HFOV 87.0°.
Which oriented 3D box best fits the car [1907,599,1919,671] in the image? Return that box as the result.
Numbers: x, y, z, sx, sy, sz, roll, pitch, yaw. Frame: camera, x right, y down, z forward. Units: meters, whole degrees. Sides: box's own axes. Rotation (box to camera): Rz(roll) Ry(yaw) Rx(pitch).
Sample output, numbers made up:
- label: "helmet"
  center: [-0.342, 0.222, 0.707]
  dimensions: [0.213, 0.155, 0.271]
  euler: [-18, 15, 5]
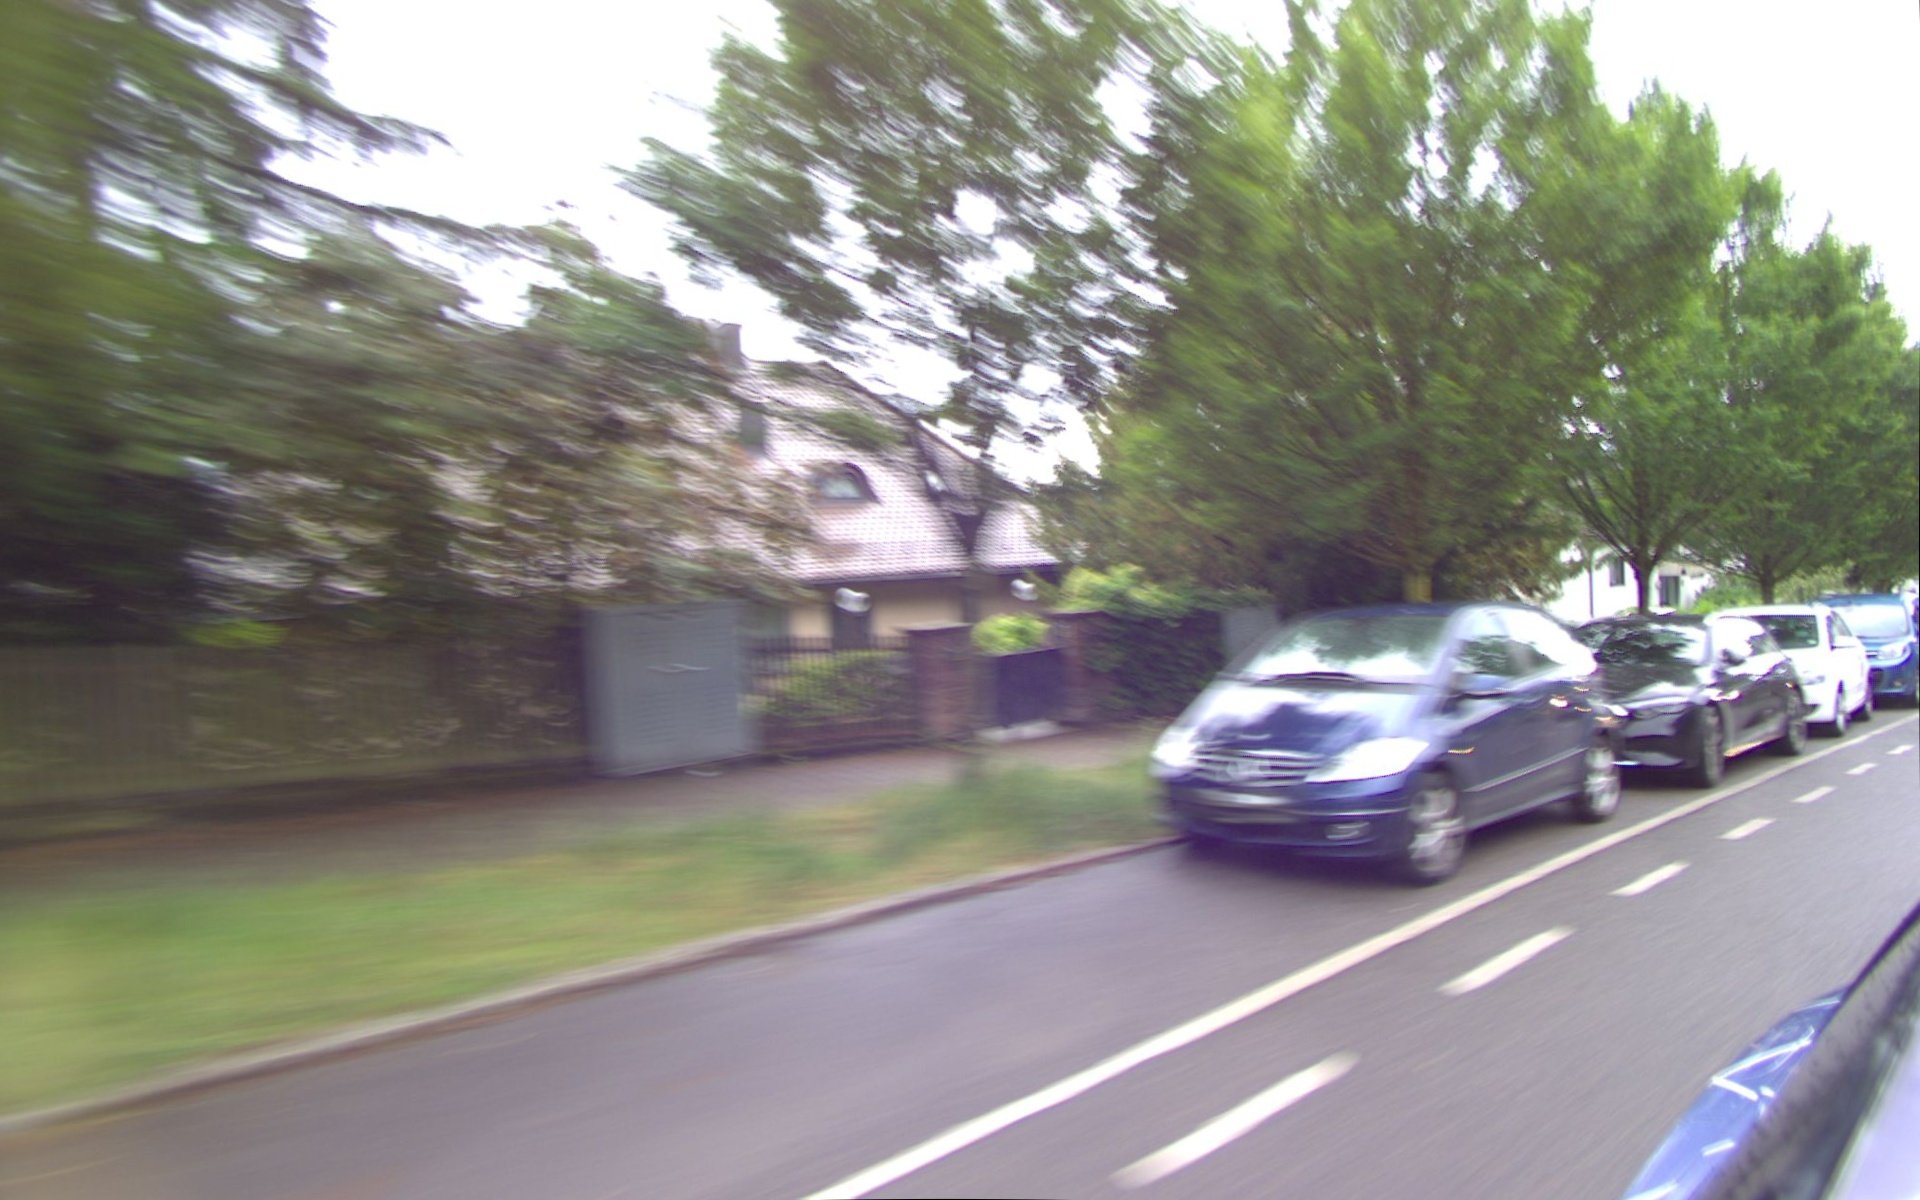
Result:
- label: "car"
  center: [23.081, 0.701, 22.989]
  dimensions: [4.090, 1.576, 1.716]
  euler: [0, -4, -40]

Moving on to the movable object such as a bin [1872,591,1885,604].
- label: "movable object such as a bin"
  center: [76.638, -0.223, 84.425]
  dimensions: [0.589, 1.005, 0.610]
  euler: [-3, -3, -30]

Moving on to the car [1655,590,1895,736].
- label: "car"
  center: [10.864, 0.736, 13.391]
  dimensions: [4.151, 1.630, 1.785]
  euler: [0, -2, -42]

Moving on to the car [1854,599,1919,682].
- label: "car"
  center: [19.132, 0.729, 19.832]
  dimensions: [3.946, 1.501, 1.652]
  euler: [-1, -3, -38]

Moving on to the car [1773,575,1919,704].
- label: "car"
  center: [15.199, 0.613, 16.766]
  dimensions: [4.346, 1.876, 1.781]
  euler: [0, -3, -40]

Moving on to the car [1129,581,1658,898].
- label: "car"
  center: [3.120, 0.720, 6.971]
  dimensions: [3.852, 1.591, 1.696]
  euler: [0, -2, -39]

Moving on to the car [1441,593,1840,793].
- label: "car"
  center: [7.010, 0.763, 10.216]
  dimensions: [4.763, 1.557, 1.997]
  euler: [0, -3, -39]
